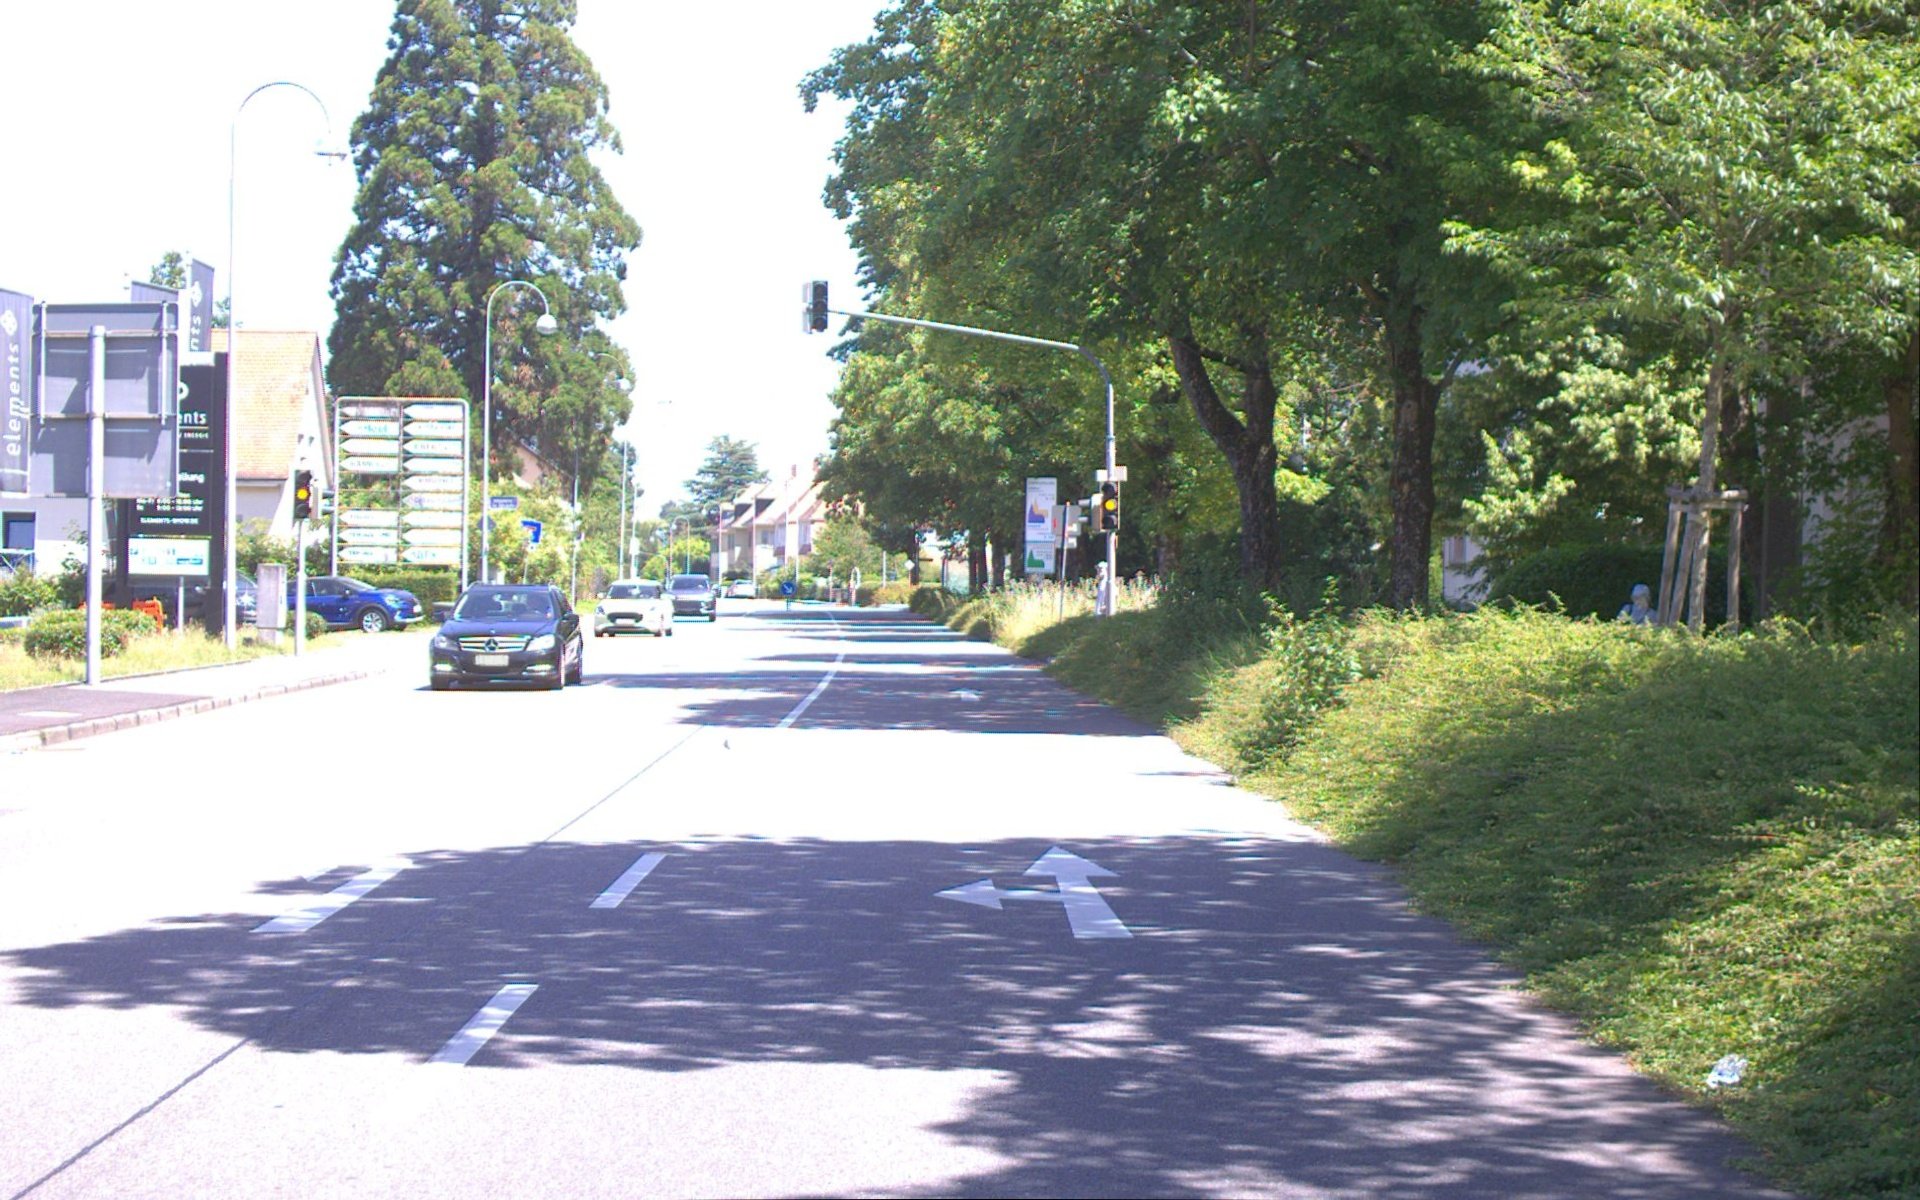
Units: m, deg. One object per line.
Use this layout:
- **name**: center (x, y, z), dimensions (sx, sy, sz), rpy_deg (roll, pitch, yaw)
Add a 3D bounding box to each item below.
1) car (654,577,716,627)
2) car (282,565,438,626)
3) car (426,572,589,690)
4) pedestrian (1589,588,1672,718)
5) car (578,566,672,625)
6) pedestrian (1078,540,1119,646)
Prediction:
- **car**: center (-9.759, 0.062, 122.330), dimensions (1.879, 1.712, 4.310), rpy_deg (1, 0, -1)
- **car**: center (-14.845, -0.124, 85.140), dimensions (3.491, 1.422, 1.600), rpy_deg (1, 0, 4)
- **car**: center (-6.170, 0.393, 47.293), dimensions (1.710, 1.490, 4.278), rpy_deg (1, 1, -1)
- **pedestrian**: center (6.962, 0.543, 35.732), dimensions (0.661, 1.330, 0.889), rpy_deg (1, 0, 0)
- **car**: center (-8.763, -0.129, 90.114), dimensions (1.993, 1.482, 4.309), rpy_deg (1, 0, 0)
- **pedestrian**: center (2.315, -0.114, 57.517), dimensions (0.613, 1.745, 0.562), rpy_deg (1, 0, -1)
